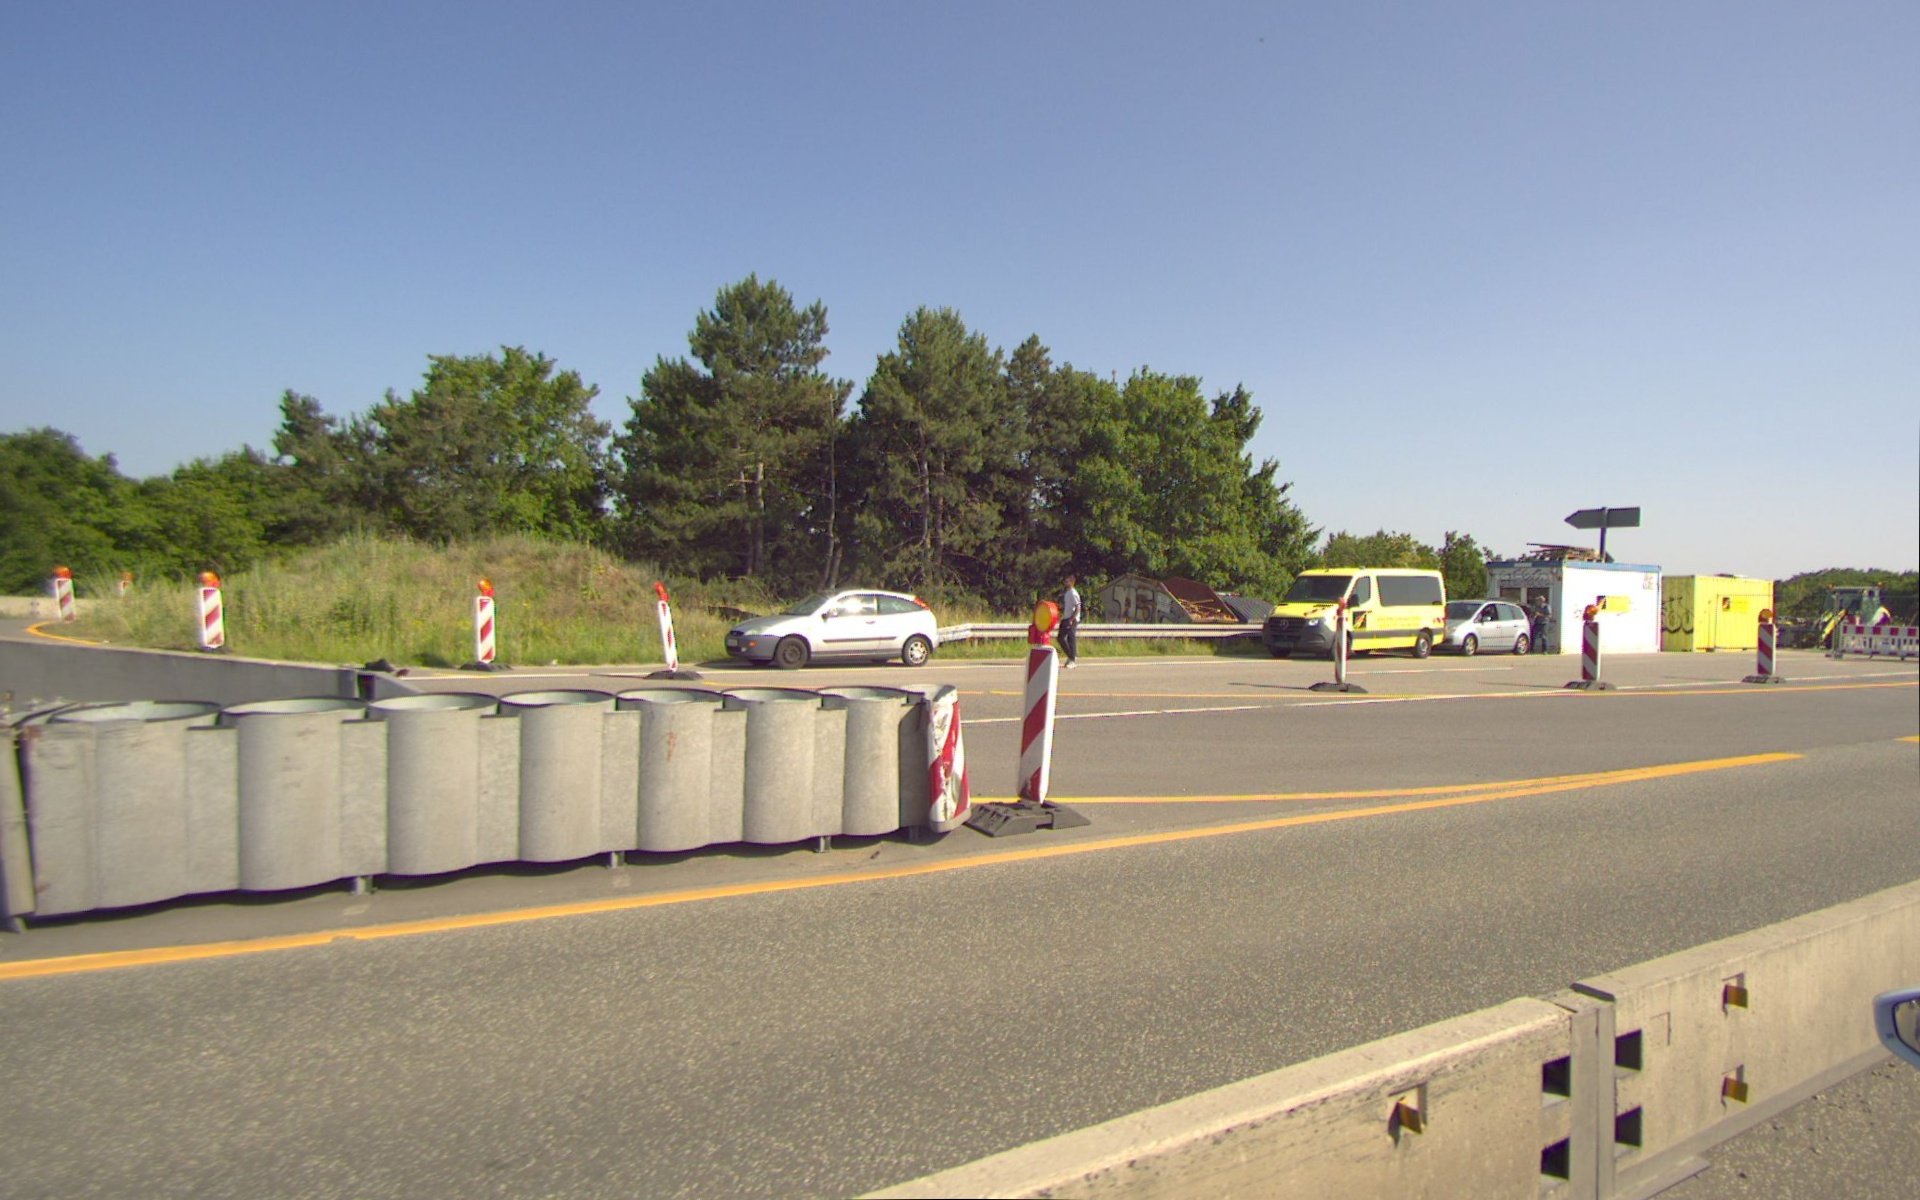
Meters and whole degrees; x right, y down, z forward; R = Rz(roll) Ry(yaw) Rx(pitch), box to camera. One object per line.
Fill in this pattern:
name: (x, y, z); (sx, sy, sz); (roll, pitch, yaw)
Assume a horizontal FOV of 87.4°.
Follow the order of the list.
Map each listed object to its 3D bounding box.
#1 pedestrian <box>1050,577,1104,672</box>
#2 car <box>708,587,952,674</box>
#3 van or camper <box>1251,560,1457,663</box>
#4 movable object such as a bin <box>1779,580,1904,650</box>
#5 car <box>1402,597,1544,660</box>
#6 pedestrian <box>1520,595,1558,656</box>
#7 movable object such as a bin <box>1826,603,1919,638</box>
pedestrian: (2.341, 0.478, 20.099); (0.791, 1.844, 0.734); (0, 0, -41)
car: (-2.438, 0.538, 19.164); (4.251, 1.479, 1.851); (1, 1, -34)
van or camper: (10.343, 0.321, 26.136); (6.140, 2.409, 1.980); (1, -1, -36)
movable object such as a bin: (36.094, 0.611, 41.113); (5.038, 2.752, 2.025); (1, 0, -25)
car: (14.981, 0.810, 29.258); (4.410, 1.708, 1.677); (1, 1, -33)
pedestrian: (17.453, 0.758, 30.289); (0.712, 1.785, 0.719); (0, 0, -31)
movable object such as a bin: (61.397, 1.322, 66.885); (2.198, 2.145, 5.399); (1, 1, -11)
